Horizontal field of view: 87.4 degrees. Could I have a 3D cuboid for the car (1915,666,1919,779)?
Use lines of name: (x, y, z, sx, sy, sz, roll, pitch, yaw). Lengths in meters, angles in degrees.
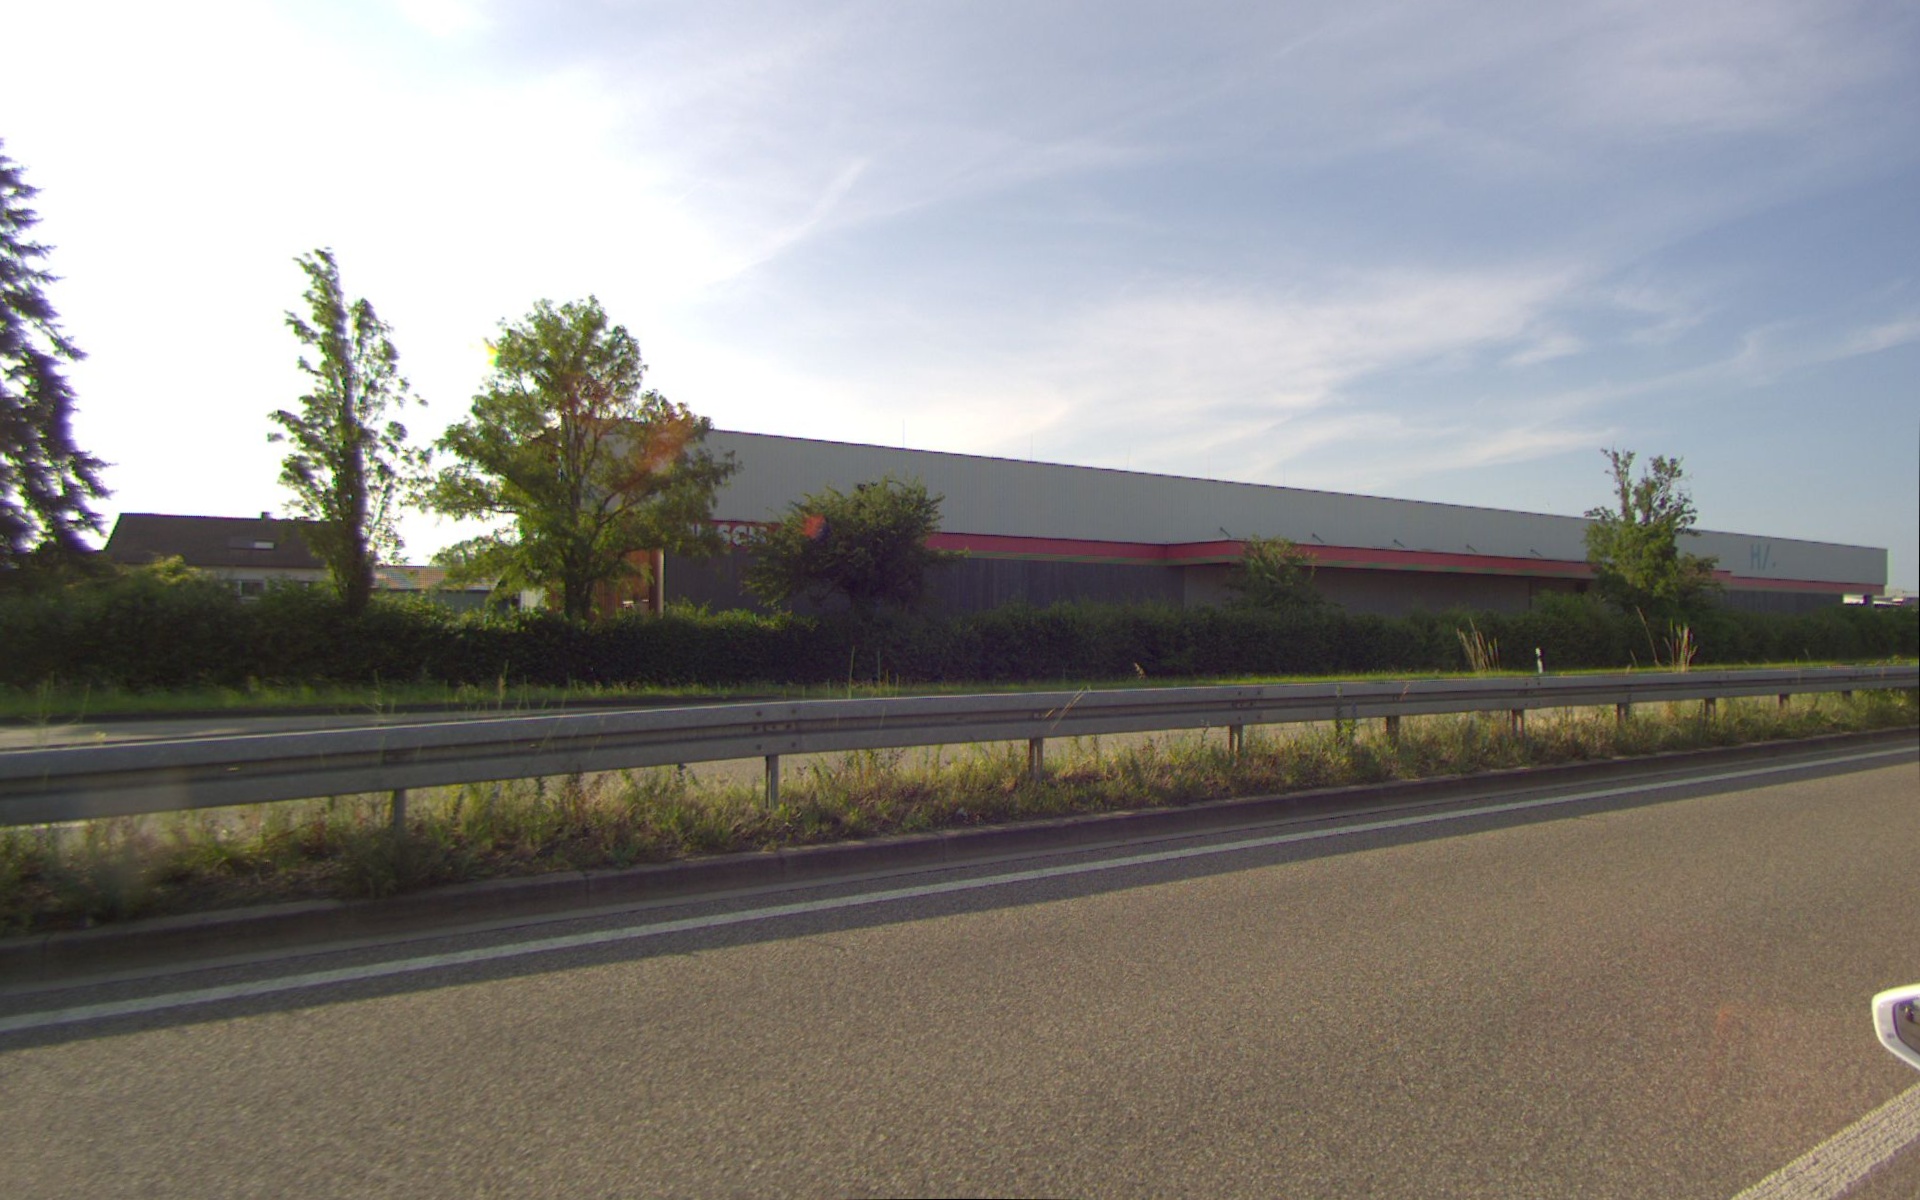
car: (11.281, 0.905, 9.694, 4.349, 1.633, 1.836, 1, 1, -30)
